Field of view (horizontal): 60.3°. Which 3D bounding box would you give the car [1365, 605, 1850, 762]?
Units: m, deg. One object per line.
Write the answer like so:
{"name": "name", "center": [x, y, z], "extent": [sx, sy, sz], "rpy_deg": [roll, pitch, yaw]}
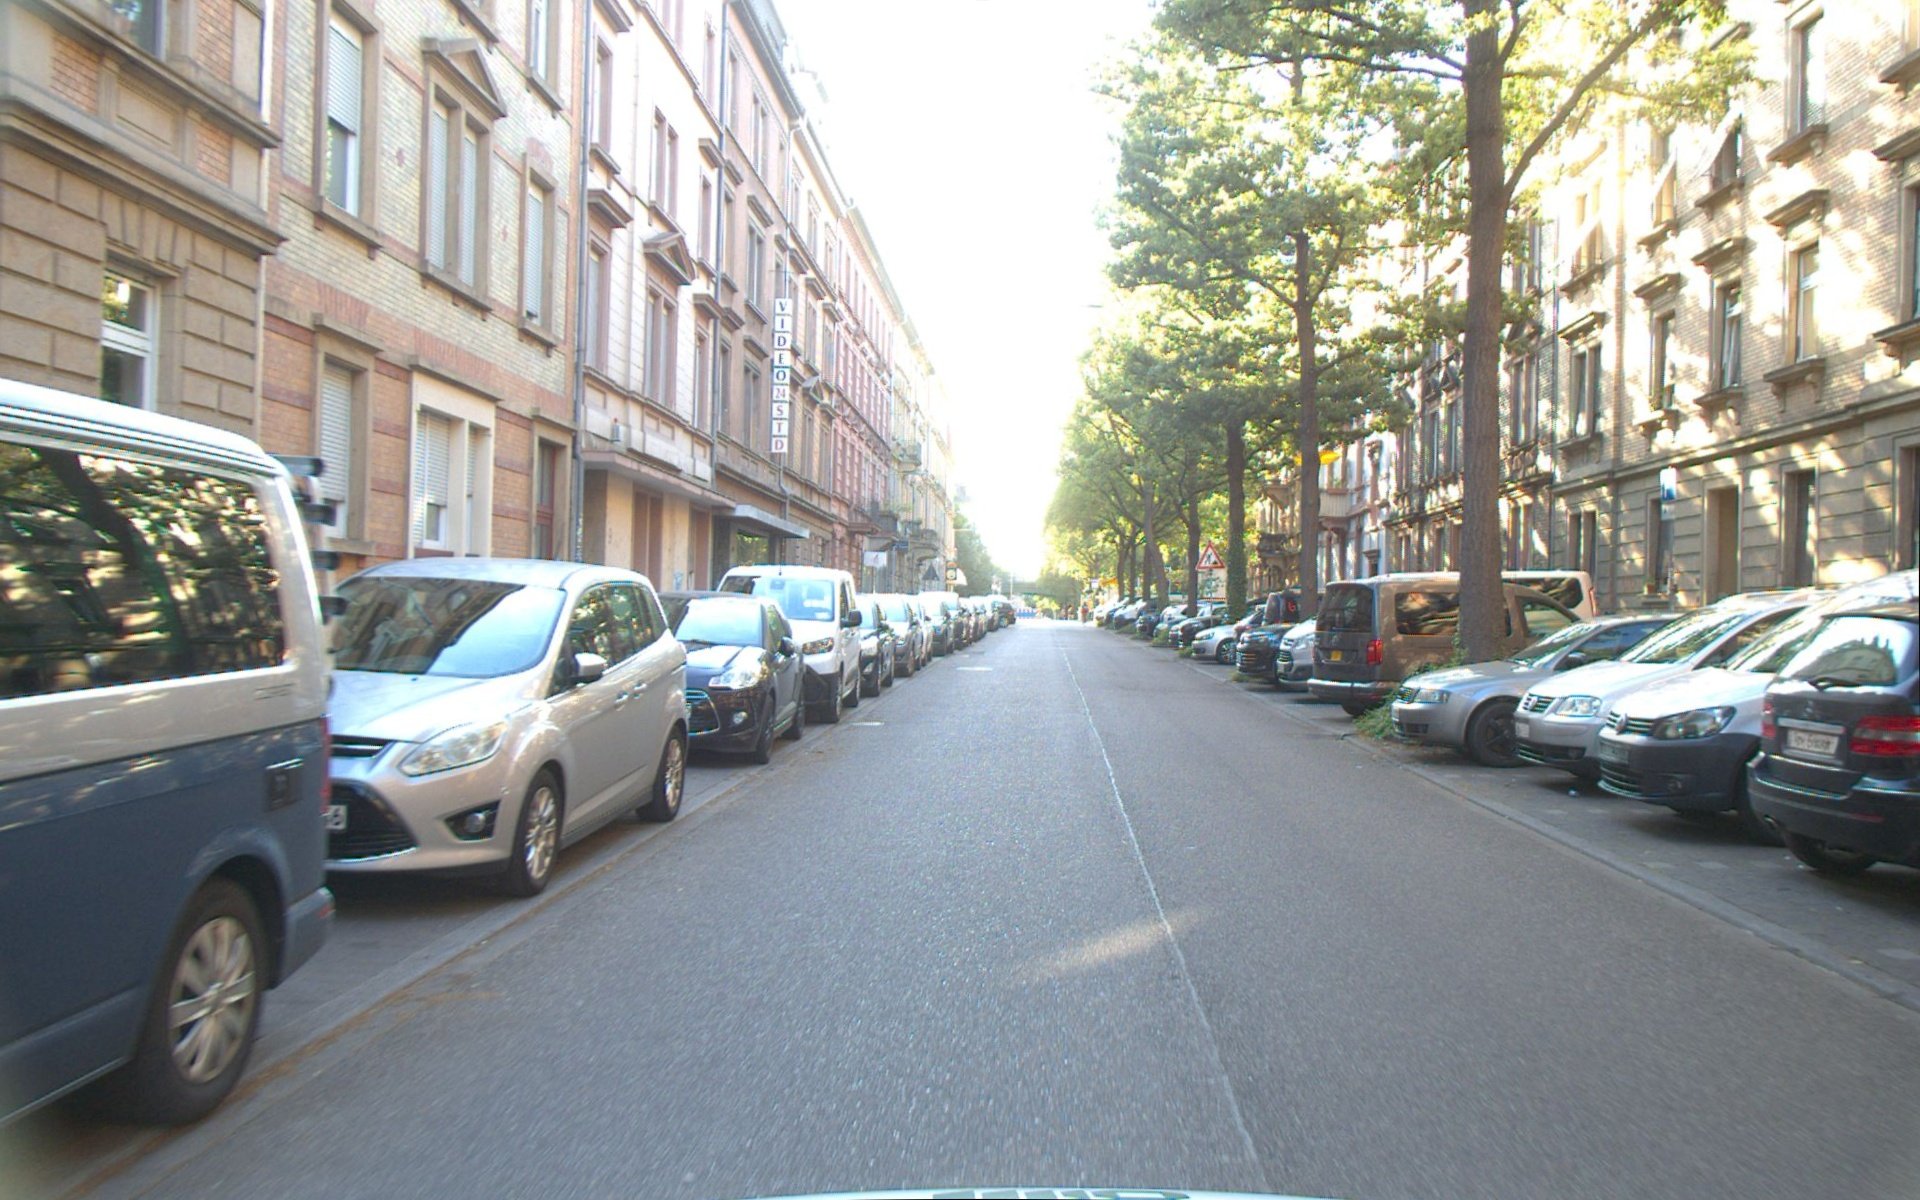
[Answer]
{"name": "car", "center": [6.362, 0.788, 16.556], "extent": [4.136, 1.428, 1.834], "rpy_deg": [-1, 0, -2]}

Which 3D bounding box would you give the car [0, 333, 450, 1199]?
{"name": "car", "center": [-2.904, 0.393, 3.344], "extent": [1.794, 1.977, 5.262], "rpy_deg": [3, 0, 3]}

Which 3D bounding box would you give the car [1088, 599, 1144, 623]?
{"name": "car", "center": [10.689, 0.757, 113.460], "extent": [3.770, 1.601, 1.718], "rpy_deg": [-1, 0, 2]}

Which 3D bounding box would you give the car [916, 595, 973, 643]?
{"name": "car", "center": [-0.469, 0.593, 54.370], "extent": [1.722, 1.498, 4.060], "rpy_deg": [1, 0, 1]}

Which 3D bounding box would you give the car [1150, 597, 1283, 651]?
{"name": "car", "center": [7.895, 0.719, 51.060], "extent": [3.775, 1.601, 1.716], "rpy_deg": [-1, 0, -5]}

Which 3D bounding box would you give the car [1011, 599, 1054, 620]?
{"name": "car", "center": [7.027, 0.940, 159.520], "extent": [3.902, 1.891, 1.752], "rpy_deg": [2, 0, 11]}

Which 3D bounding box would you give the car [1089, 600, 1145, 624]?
{"name": "car", "center": [11.005, 0.844, 115.912], "extent": [3.770, 1.601, 1.718], "rpy_deg": [-1, 0, 2]}

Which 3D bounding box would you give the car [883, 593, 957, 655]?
{"name": "car", "center": [-0.995, 0.595, 43.121], "extent": [1.722, 1.498, 4.060], "rpy_deg": [1, 0, 1]}

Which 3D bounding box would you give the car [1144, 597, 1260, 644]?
{"name": "car", "center": [8.522, 0.708, 58.378], "extent": [3.775, 1.601, 1.716], "rpy_deg": [-1, 0, -5]}

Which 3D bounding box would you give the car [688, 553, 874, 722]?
{"name": "car", "center": [-2.132, 0.424, 20.879], "extent": [1.722, 1.874, 4.530], "rpy_deg": [1, 0, 1]}

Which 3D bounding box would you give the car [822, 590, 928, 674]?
{"name": "car", "center": [-1.584, 0.585, 32.011], "extent": [1.722, 1.498, 4.060], "rpy_deg": [1, 0, 1]}

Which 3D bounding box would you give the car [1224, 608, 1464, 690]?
{"name": "car", "center": [6.626, 0.834, 28.796], "extent": [3.771, 1.316, 1.718], "rpy_deg": [-1, 0, -1]}

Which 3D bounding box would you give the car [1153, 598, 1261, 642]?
{"name": "car", "center": [9.443, 0.753, 63.358], "extent": [3.775, 1.601, 1.716], "rpy_deg": [-1, 0, -5]}

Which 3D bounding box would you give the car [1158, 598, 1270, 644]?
{"name": "car", "center": [9.305, 0.763, 60.749], "extent": [3.775, 1.601, 1.716], "rpy_deg": [-1, 0, -5]}

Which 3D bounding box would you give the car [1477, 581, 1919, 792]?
{"name": "car", "center": [6.794, 0.674, 14.158], "extent": [4.138, 1.639, 1.833], "rpy_deg": [-1, 0, -5]}

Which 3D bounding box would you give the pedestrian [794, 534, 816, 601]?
{"name": "pedestrian", "center": [-4.426, -0.916, 47.247], "extent": [0.488, 1.894, 0.463], "rpy_deg": [2, 0, 2]}

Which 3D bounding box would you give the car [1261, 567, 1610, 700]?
{"name": "car", "center": [7.343, 0.508, 25.901], "extent": [4.951, 1.959, 1.836], "rpy_deg": [-1, 0, 3]}

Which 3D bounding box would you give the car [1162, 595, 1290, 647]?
{"name": "car", "center": [8.554, 0.676, 53.441], "extent": [3.775, 1.601, 1.716], "rpy_deg": [-1, 0, -5]}

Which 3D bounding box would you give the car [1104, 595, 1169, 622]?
{"name": "car", "center": [10.708, 0.531, 100.444], "extent": [3.770, 1.601, 1.718], "rpy_deg": [-1, 0, 2]}

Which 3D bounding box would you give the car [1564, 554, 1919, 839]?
{"name": "car", "center": [6.588, 0.603, 11.459], "extent": [4.133, 1.808, 1.835], "rpy_deg": [-1, 0, 1]}

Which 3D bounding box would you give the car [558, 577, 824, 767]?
{"name": "car", "center": [-2.418, 0.600, 15.827], "extent": [1.722, 1.492, 4.001], "rpy_deg": [3, 0, 1]}

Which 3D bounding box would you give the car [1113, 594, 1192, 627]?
{"name": "car", "center": [9.655, 0.519, 83.157], "extent": [3.770, 1.601, 1.718], "rpy_deg": [-1, 0, 2]}

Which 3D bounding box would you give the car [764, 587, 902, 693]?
{"name": "car", "center": [-1.905, 0.579, 25.915], "extent": [1.722, 1.498, 4.060], "rpy_deg": [1, 0, 1]}

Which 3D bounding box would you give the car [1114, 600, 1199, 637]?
{"name": "car", "center": [9.029, 0.842, 76.143], "extent": [3.770, 1.601, 1.718], "rpy_deg": [-1, 0, 2]}

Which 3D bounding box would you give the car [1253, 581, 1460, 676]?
{"name": "car", "center": [7.994, 0.571, 33.554], "extent": [3.771, 1.828, 1.718], "rpy_deg": [-1, 0, -1]}

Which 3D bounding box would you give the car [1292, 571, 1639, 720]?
{"name": "car", "center": [6.755, 0.561, 22.186], "extent": [4.153, 1.826, 1.826], "rpy_deg": [-1, 0, -17]}

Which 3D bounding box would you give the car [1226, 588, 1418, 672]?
{"name": "car", "center": [7.790, 0.626, 35.830], "extent": [3.771, 1.729, 1.718], "rpy_deg": [-1, 0, -1]}

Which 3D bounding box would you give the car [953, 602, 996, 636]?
{"name": "car", "center": [0.736, 0.940, 80.084], "extent": [1.952, 1.512, 4.000], "rpy_deg": [1, -2, 2]}

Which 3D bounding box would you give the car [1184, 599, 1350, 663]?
{"name": "car", "center": [7.585, 0.749, 41.102], "extent": [3.771, 1.505, 1.718], "rpy_deg": [-1, 0, -1]}

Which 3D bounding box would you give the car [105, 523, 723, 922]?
{"name": "car", "center": [-2.699, 0.535, 9.387], "extent": [1.717, 1.636, 4.386], "rpy_deg": [3, 0, 4]}

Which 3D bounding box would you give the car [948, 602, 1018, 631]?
{"name": "car", "center": [1.267, 0.919, 90.831], "extent": [1.959, 1.512, 3.986], "rpy_deg": [0, -2, 35]}

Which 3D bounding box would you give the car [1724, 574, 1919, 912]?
{"name": "car", "center": [6.435, 0.680, 8.799], "extent": [3.926, 1.635, 1.734], "rpy_deg": [-1, -1, 2]}

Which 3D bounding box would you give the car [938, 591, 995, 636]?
{"name": "car", "center": [0.262, 0.511, 60.371], "extent": [1.952, 1.512, 4.000], "rpy_deg": [1, -2, 2]}

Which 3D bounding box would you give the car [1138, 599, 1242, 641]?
{"name": "car", "center": [9.071, 0.774, 65.413], "extent": [3.775, 1.601, 1.716], "rpy_deg": [-1, 0, -5]}

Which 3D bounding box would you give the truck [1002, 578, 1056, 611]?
{"name": "truck", "center": [9.240, -0.740, 221.194], "extent": [7.158, 4.019, 2.409], "rpy_deg": [3, 0, -34]}

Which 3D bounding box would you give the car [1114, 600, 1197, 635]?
{"name": "car", "center": [9.237, 0.805, 78.273], "extent": [3.770, 1.601, 1.718], "rpy_deg": [-1, 0, 2]}

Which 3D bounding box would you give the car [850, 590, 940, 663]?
{"name": "car", "center": [-1.402, 0.552, 36.880], "extent": [1.722, 1.498, 4.060], "rpy_deg": [1, 0, 1]}

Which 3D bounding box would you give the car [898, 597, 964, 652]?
{"name": "car", "center": [-0.802, 0.675, 47.884], "extent": [1.722, 1.498, 4.060], "rpy_deg": [1, 0, 1]}
